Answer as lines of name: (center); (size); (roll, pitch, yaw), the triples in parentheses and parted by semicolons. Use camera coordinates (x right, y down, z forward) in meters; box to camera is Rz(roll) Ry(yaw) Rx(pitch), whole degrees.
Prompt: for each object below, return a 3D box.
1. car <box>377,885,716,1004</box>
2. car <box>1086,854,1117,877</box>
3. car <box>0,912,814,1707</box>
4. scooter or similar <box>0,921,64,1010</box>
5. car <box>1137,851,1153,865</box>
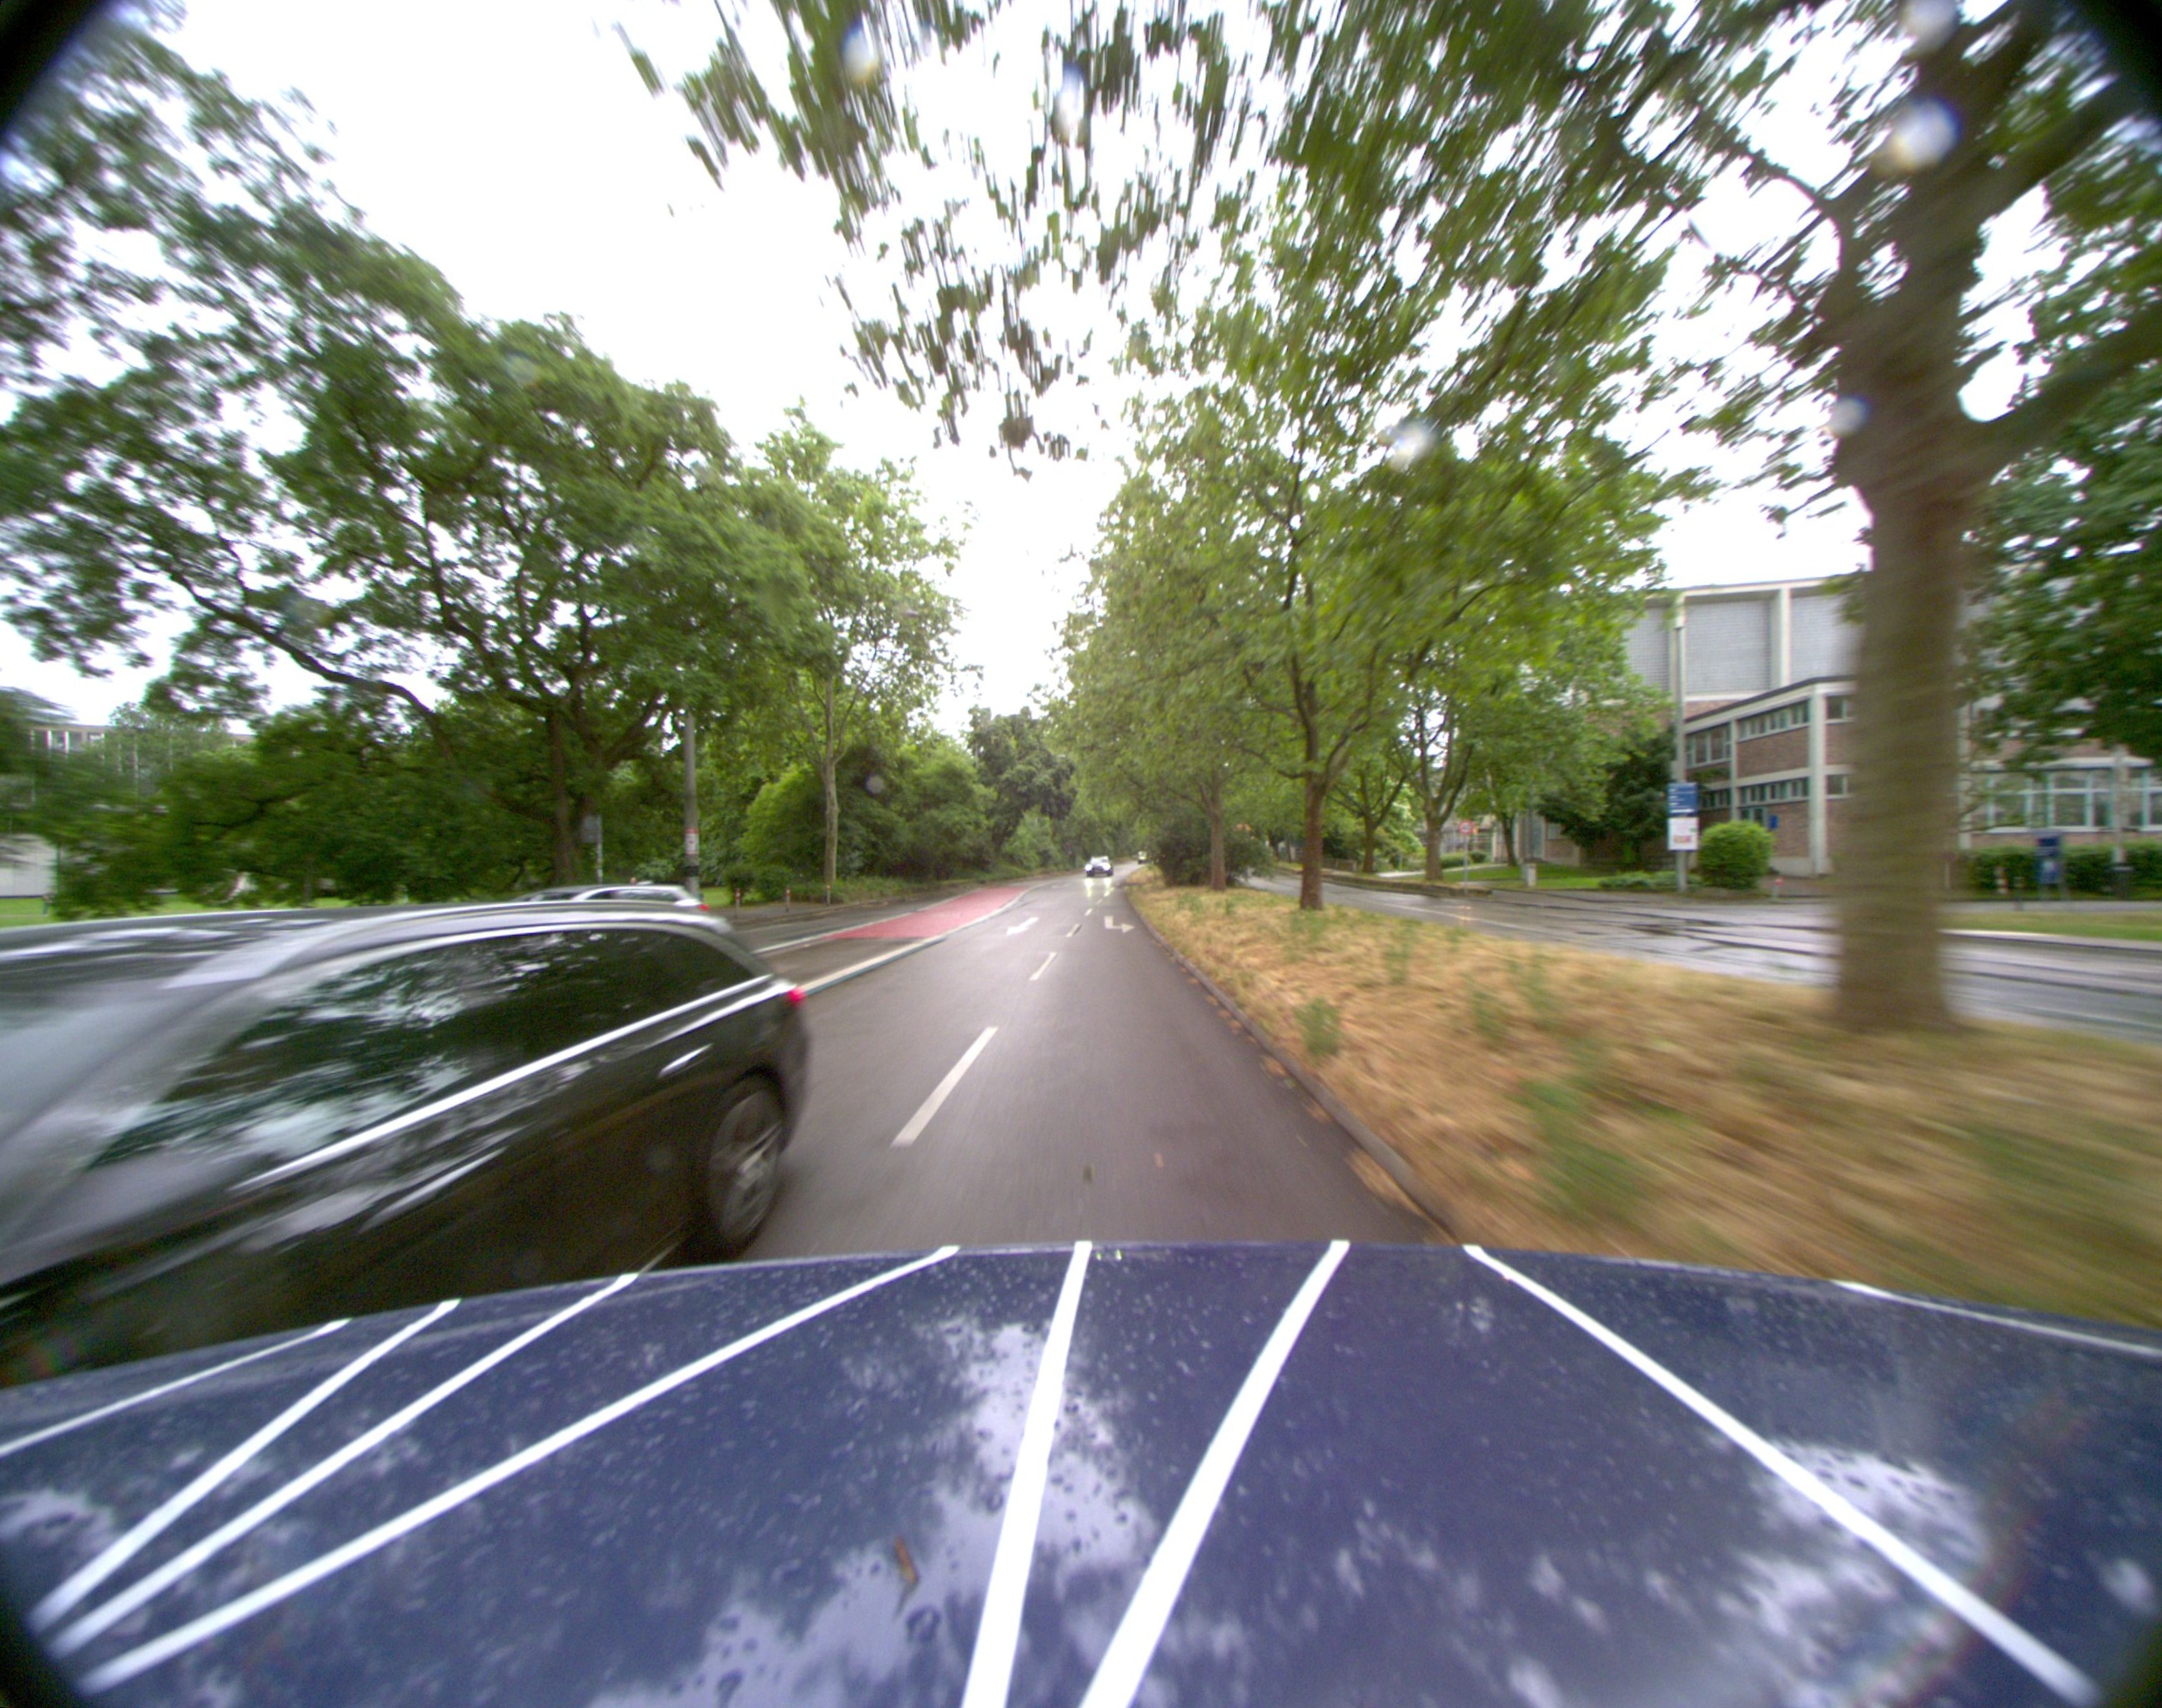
car: (-8.572, 1.348, 12.765); (1.864, 1.441, 4.409); (-2, 0, 17)
car: (1.697, 0.905, 62.437); (1.832, 1.599, 4.579); (-2, 1, 10)
car: (-2.407, 1.056, 1.549); (1.884, 1.437, 4.930); (-2, 0, 1)
scooter or similar: (-14.512, 1.479, 9.600); (0.557, 1.095, 1.894); (2, 0, 22)
car: (9.458, 0.558, 111.691); (1.883, 1.865, 4.745); (-3, 0, 10)
